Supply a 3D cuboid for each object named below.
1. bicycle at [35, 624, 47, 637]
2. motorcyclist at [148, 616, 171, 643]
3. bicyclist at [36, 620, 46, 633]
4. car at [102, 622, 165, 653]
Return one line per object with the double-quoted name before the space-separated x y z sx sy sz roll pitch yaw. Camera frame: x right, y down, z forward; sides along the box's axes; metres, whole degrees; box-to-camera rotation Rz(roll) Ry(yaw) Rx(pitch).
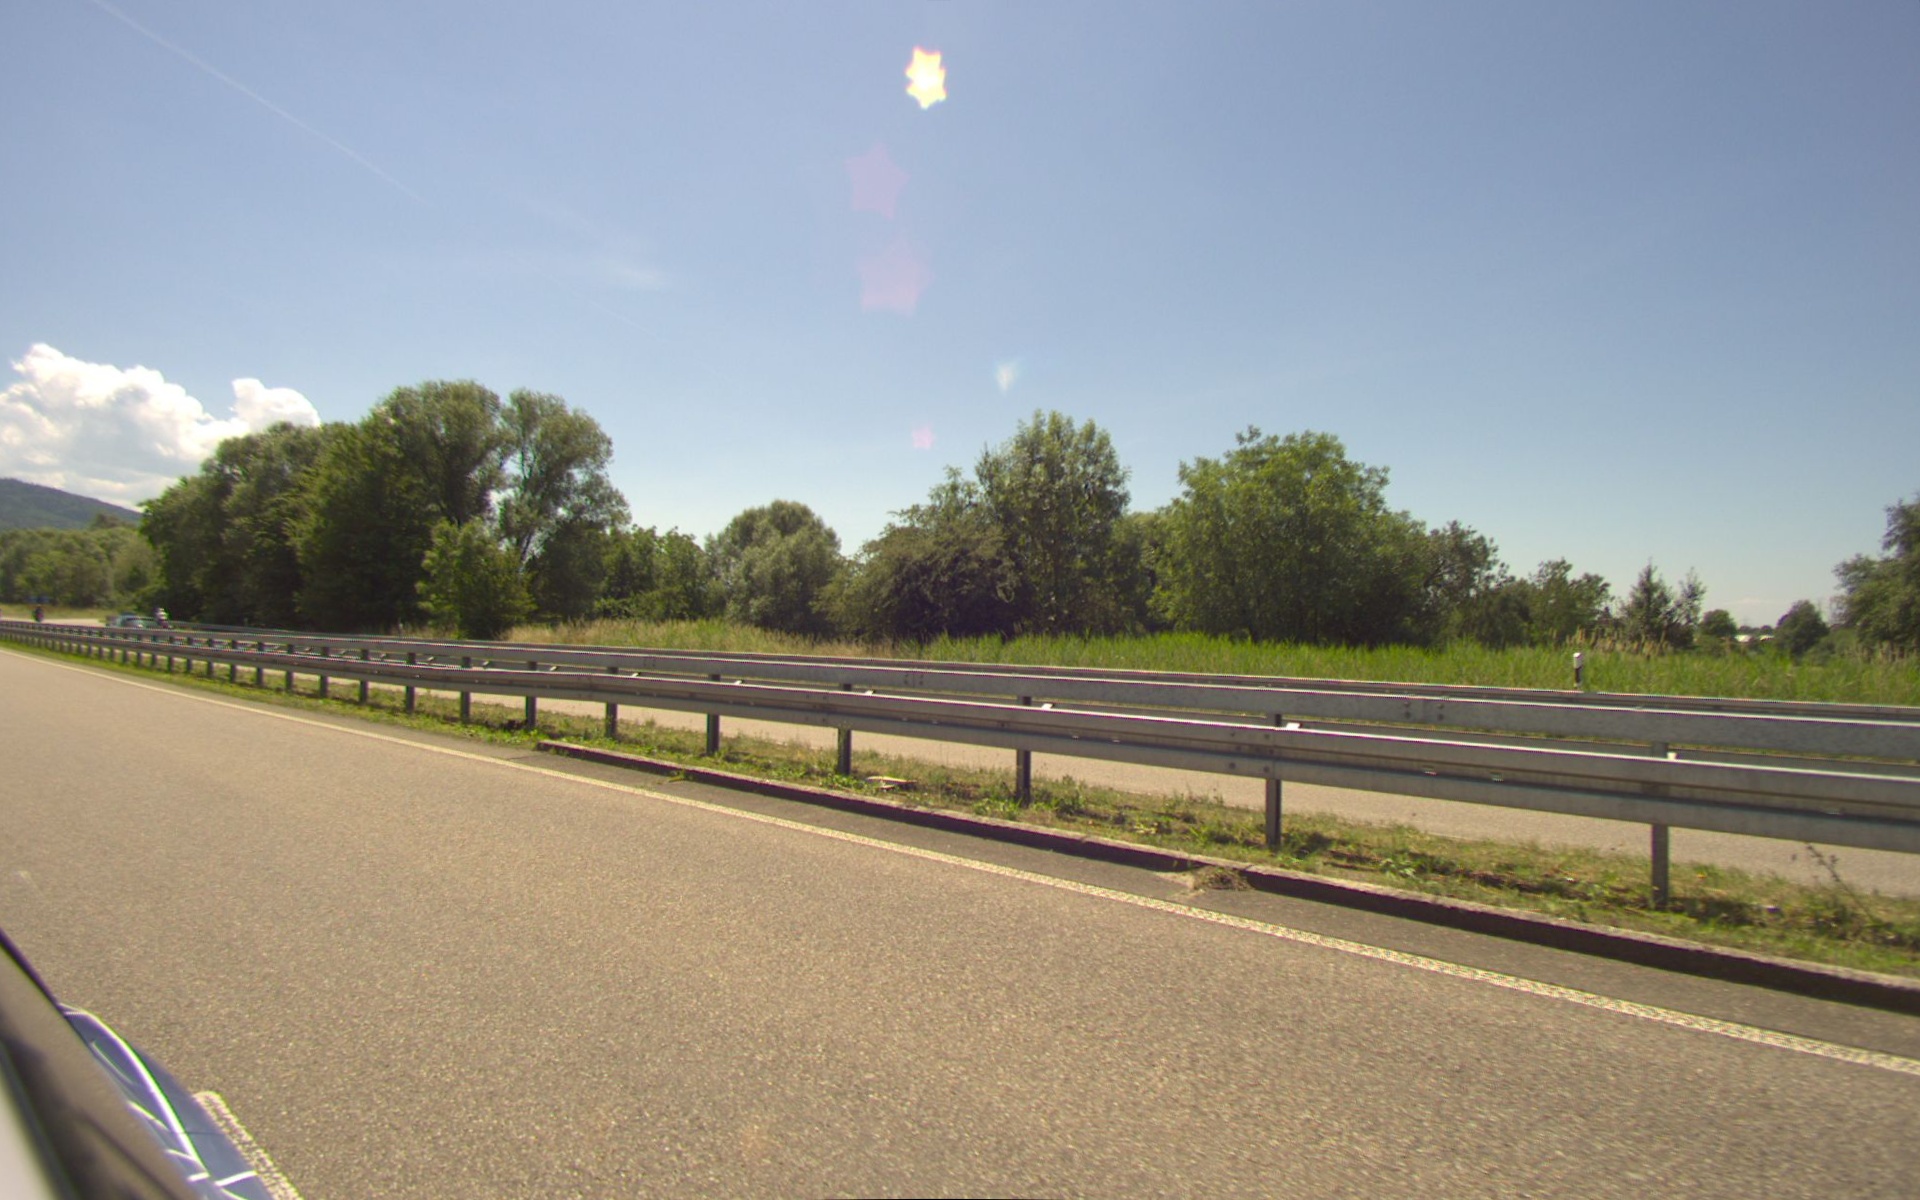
"bicycle" -86.630 2.850 95.376 2.279 1.166 0.607 -1 -1 41
"motorcyclist" -48.837 1.780 61.737 0.809 1.629 0.935 -1 -3 40
"bicyclist" -86.629 2.486 95.361 0.607 1.287 0.607 -1 -1 41
"car" -37.017 1.662 45.284 3.534 1.342 1.611 -1 -2 41
